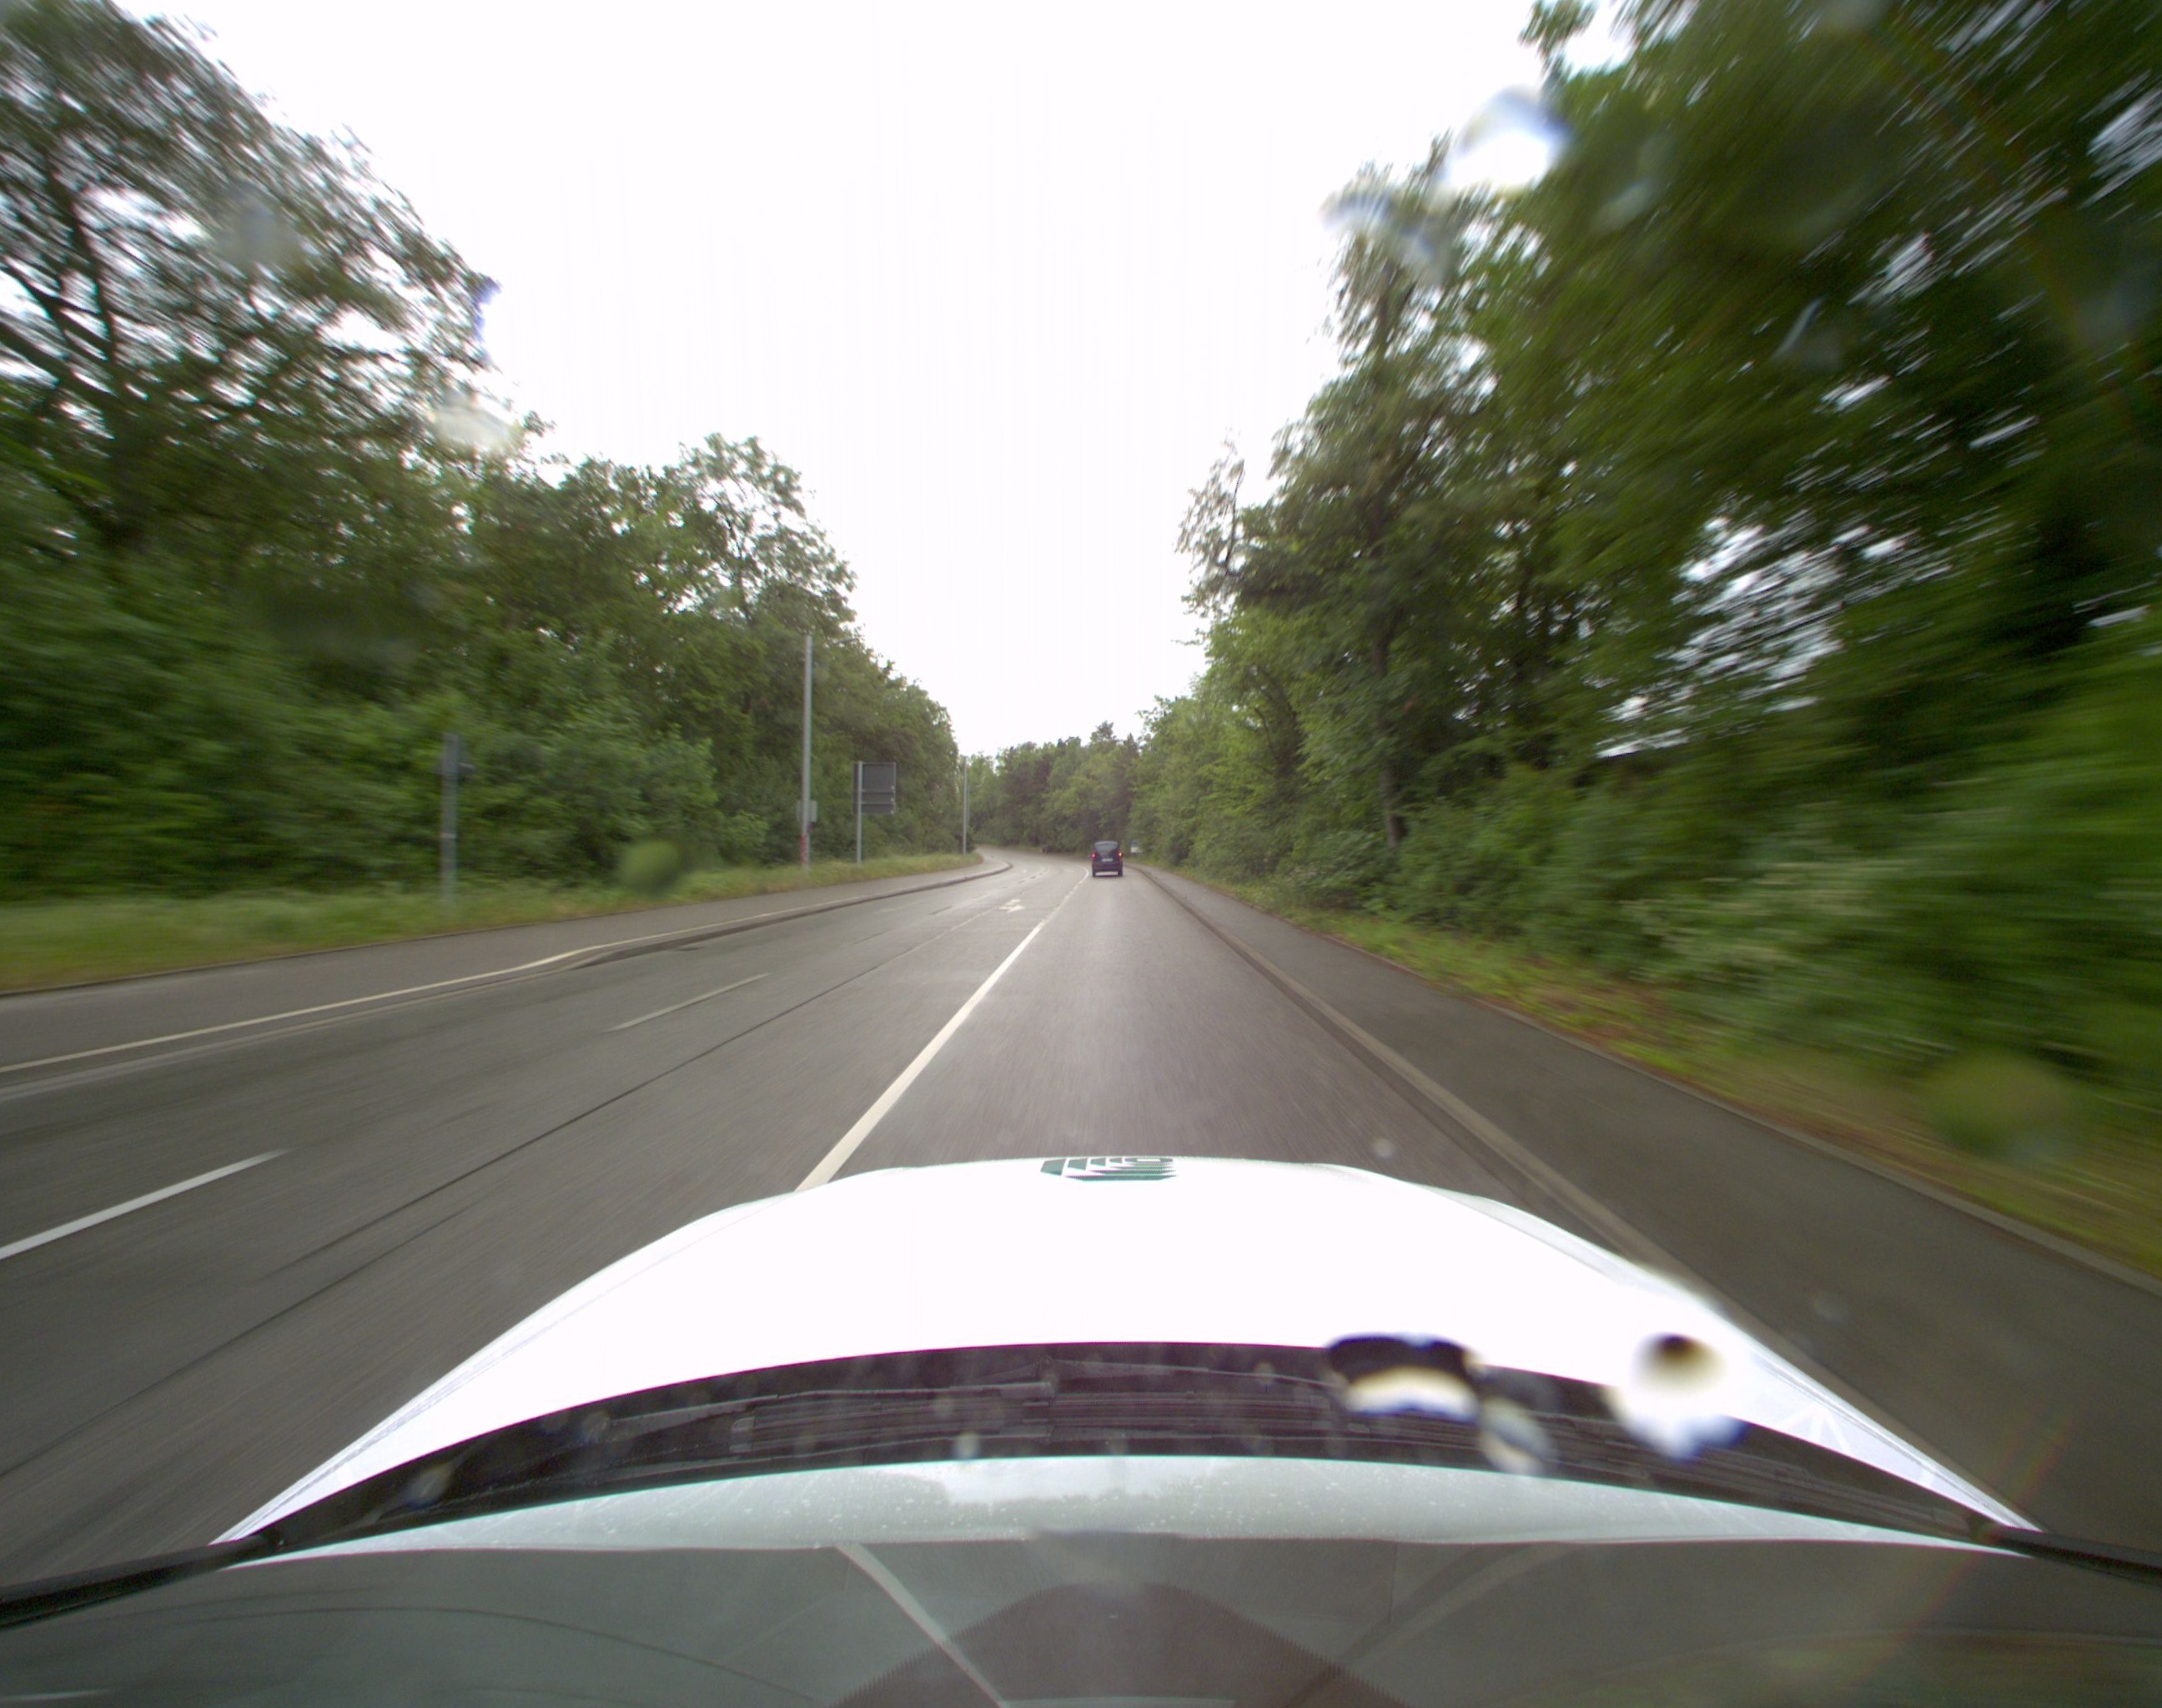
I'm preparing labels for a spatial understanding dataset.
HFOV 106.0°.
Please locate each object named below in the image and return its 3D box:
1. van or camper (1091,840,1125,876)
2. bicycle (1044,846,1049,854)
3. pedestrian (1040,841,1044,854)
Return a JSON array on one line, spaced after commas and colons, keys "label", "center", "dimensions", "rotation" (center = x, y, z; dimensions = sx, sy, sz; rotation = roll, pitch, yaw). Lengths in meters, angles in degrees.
[{"label": "van or camper", "center": [1.432, 0.234, 44.296], "dimensions": [1.706, 1.826, 4.001], "rotation": [-2, -1, 1]}, {"label": "bicycle", "center": [-5.113, -0.563, 119.588], "dimensions": [0.489, 1.246, 1.741], "rotation": [0, 0, -10]}, {"label": "pedestrian", "center": [-5.672, -0.919, 119.510], "dimensions": [0.490, 1.870, 0.677], "rotation": [0, 0, -11]}]
